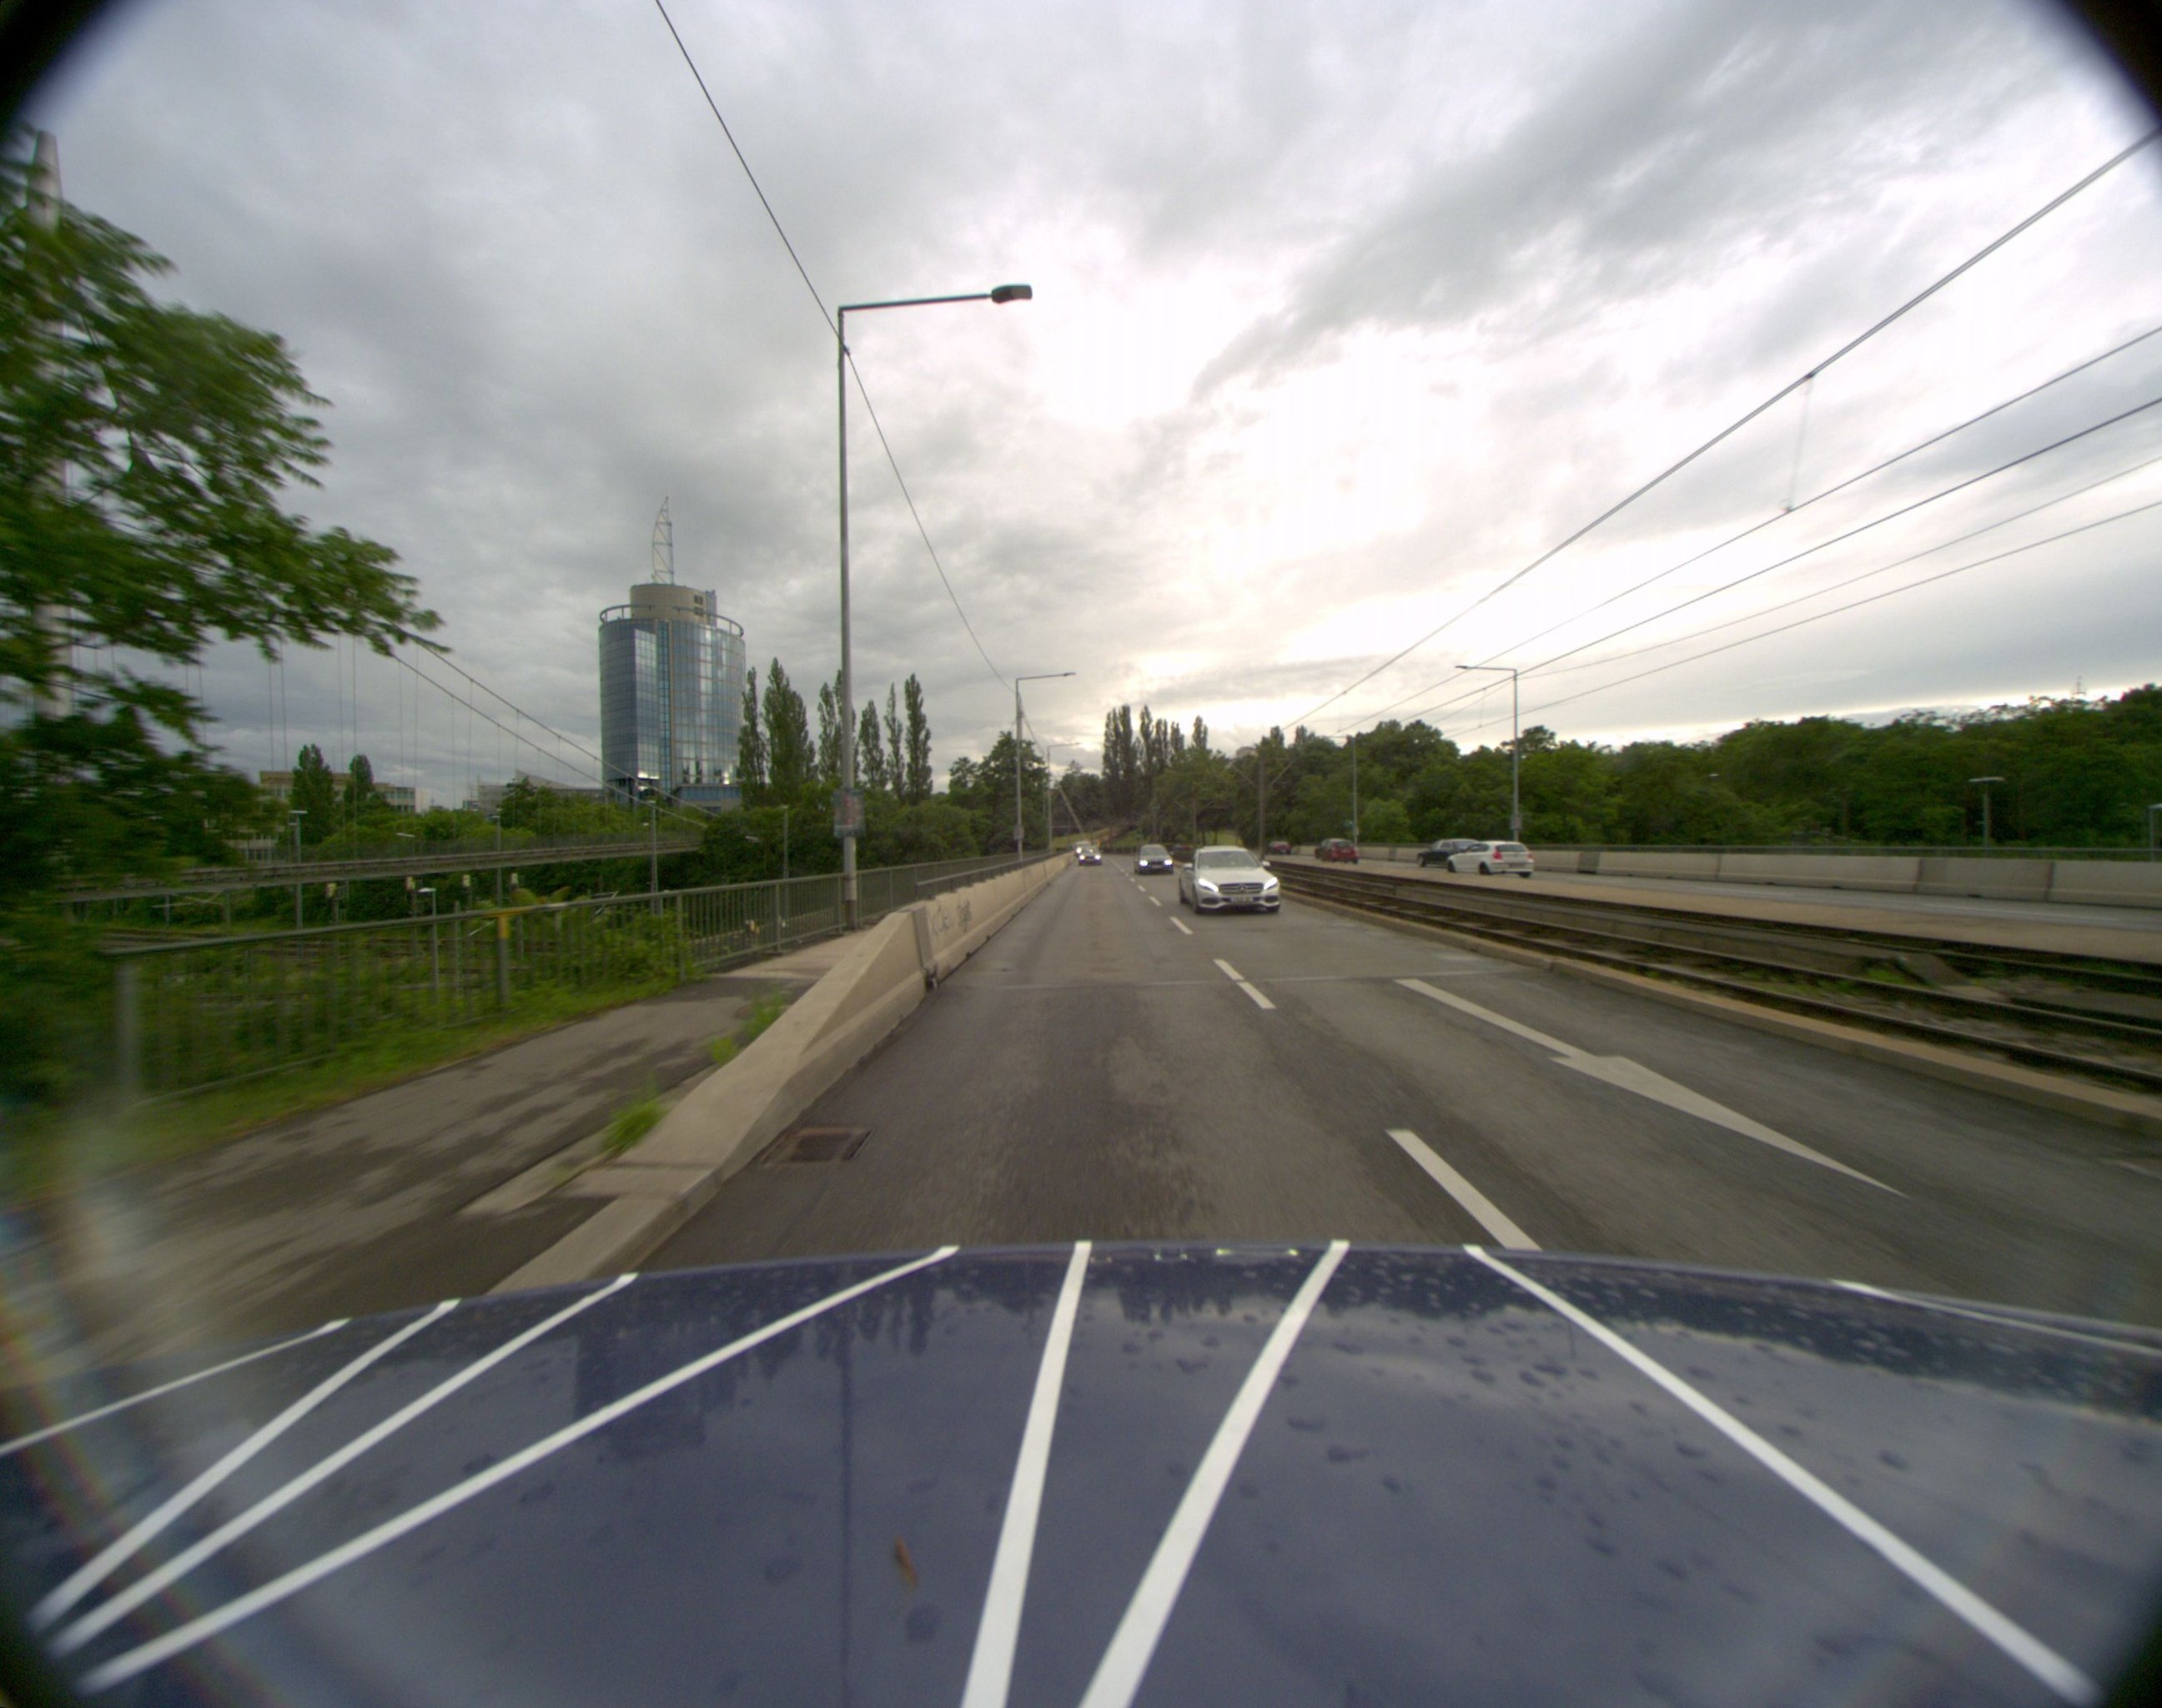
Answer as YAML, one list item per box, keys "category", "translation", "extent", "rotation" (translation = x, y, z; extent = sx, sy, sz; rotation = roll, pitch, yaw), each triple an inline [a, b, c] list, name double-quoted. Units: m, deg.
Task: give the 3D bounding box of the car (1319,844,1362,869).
- category: "car"
  translation: [16.507, 0.125, 48.515]
  extent: [1.605, 1.485, 3.016]
  rotation: [0, 2, -2]

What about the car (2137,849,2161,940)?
- category: "car"
  translation: [19.029, 0.714, 10.745]
  extent: [1.826, 1.506, 4.527]
  rotation: [-1, 1, -2]

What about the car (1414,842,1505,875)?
- category: "car"
  translation: [19.486, 0.190, 39.423]
  extent: [1.974, 1.588, 5.183]
  rotation: [0, 0, -2]

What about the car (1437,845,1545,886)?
- category: "car"
  translation: [16.124, 0.388, 30.181]
  extent: [1.734, 1.429, 4.490]
  rotation: [0, 2, -2]

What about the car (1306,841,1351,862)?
- category: "car"
  translation: [19.470, -0.202, 59.953]
  extent: [1.901, 1.588, 4.731]
  rotation: [0, 0, -2]

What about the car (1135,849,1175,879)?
- category: "car"
  translation: [3.722, 0.469, 38.711]
  extent: [1.735, 1.344, 4.000]
  rotation: [-1, 1, 2]

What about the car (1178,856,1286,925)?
- category: "car"
  translation: [3.366, 0.757, 17.690]
  extent: [1.871, 1.348, 4.060]
  rotation: [-1, 1, 2]

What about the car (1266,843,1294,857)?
- category: "car"
  translation: [20.757, -0.414, 79.294]
  extent: [1.821, 1.428, 4.741]
  rotation: [-1, 1, 2]

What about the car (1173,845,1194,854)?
- category: "car"
  translation: [16.231, -0.641, 120.629]
  extent: [1.843, 1.306, 4.614]
  rotation: [-3, 0, -12]

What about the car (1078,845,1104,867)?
- category: "car"
  translation: [0.710, 0.128, 57.014]
  extent: [1.768, 1.492, 3.998]
  rotation: [-1, 1, -2]

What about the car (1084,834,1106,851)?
- category: "car"
  translation: [2.744, -2.271, 149.470]
  extent: [2.399, 3.098, 6.346]
  rotation: [-2, 1, -17]

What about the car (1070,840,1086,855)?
- category: "car"
  translation: [-0.417, -0.801, 93.215]
  extent: [1.768, 1.806, 3.998]
  rotation: [-2, 1, -3]
